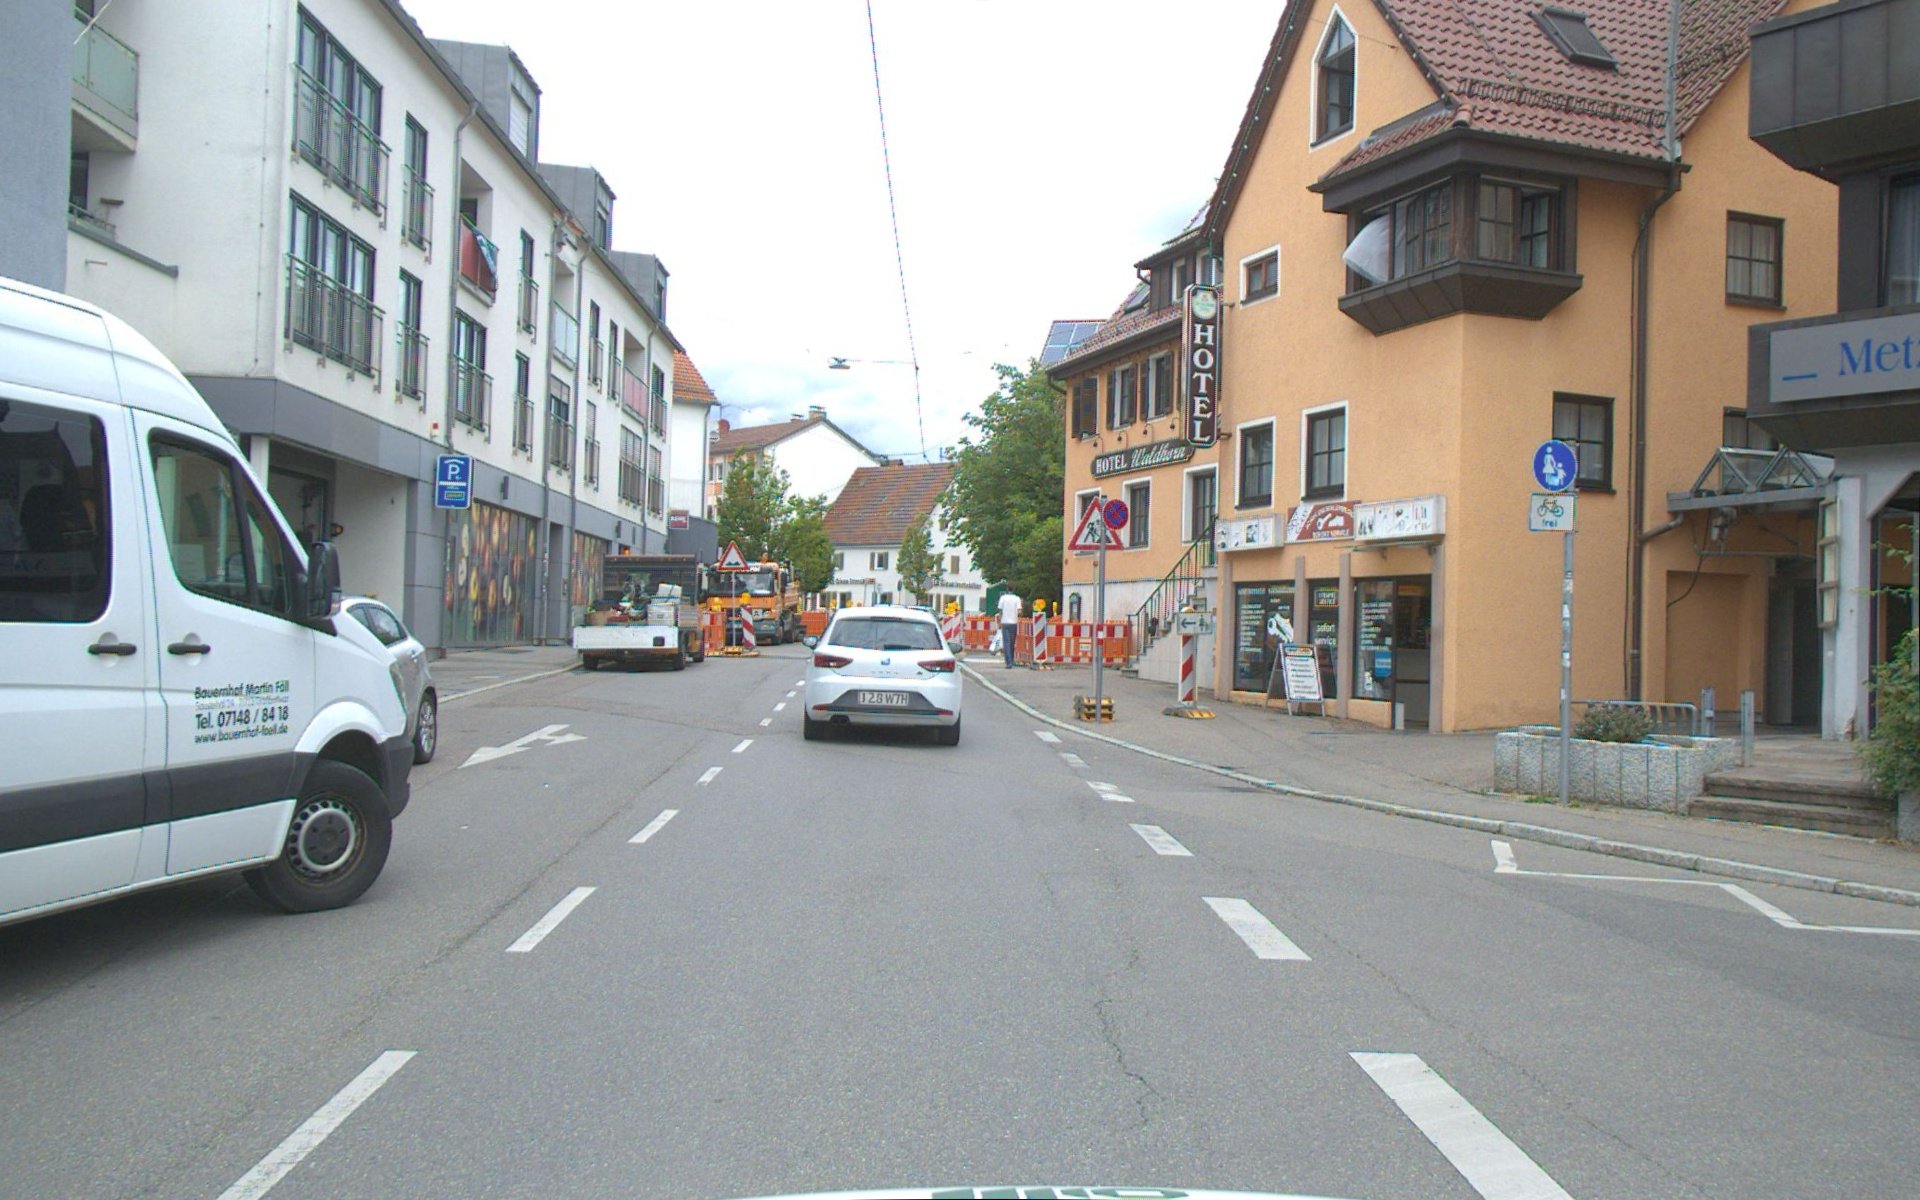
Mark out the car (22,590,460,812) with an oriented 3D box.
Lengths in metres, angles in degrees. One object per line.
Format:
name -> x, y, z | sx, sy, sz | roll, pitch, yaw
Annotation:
car -> -5.289, 0.657, 12.782 | 1.761, 1.436, 3.998 | 0, 0, -3

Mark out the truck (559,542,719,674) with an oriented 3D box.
truck -> -6.609, 0.147, 34.821 | 2.365, 2.509, 6.304 | 0, 0, -3

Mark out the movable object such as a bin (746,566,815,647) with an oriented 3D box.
movable object such as a bin -> -6.531, 0.304, 60.608 | 1.801, 2.812, 4.506 | 1, -2, 3

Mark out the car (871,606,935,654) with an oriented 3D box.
car -> -1.885, 0.989, 55.885 | 1.773, 1.506, 3.872 | 1, 0, 3

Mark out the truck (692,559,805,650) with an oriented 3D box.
truck -> -6.842, 0.134, 54.469 | 2.675, 2.772, 6.848 | 1, 0, 1

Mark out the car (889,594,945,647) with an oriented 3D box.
car -> -1.730, 0.828, 67.357 | 1.952, 2.049, 4.001 | 1, -1, 3

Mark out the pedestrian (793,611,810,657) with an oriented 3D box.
pedestrian -> -6.151, 1.317, 64.199 | 0.526, 1.774, 0.444 | 1, -1, 5

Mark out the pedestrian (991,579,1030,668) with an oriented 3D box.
pedestrian -> 1.126, 0.522, 37.261 | 0.782, 1.984, 0.835 | 0, 0, -5

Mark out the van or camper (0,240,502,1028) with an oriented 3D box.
van or camper -> -4.261, 0.106, 6.182 | 2.269, 2.653, 6.213 | 1, 0, 12

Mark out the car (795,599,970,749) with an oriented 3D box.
car -> -0.874, 0.767, 19.095 | 1.775, 1.506, 3.868 | 2, 0, -2
